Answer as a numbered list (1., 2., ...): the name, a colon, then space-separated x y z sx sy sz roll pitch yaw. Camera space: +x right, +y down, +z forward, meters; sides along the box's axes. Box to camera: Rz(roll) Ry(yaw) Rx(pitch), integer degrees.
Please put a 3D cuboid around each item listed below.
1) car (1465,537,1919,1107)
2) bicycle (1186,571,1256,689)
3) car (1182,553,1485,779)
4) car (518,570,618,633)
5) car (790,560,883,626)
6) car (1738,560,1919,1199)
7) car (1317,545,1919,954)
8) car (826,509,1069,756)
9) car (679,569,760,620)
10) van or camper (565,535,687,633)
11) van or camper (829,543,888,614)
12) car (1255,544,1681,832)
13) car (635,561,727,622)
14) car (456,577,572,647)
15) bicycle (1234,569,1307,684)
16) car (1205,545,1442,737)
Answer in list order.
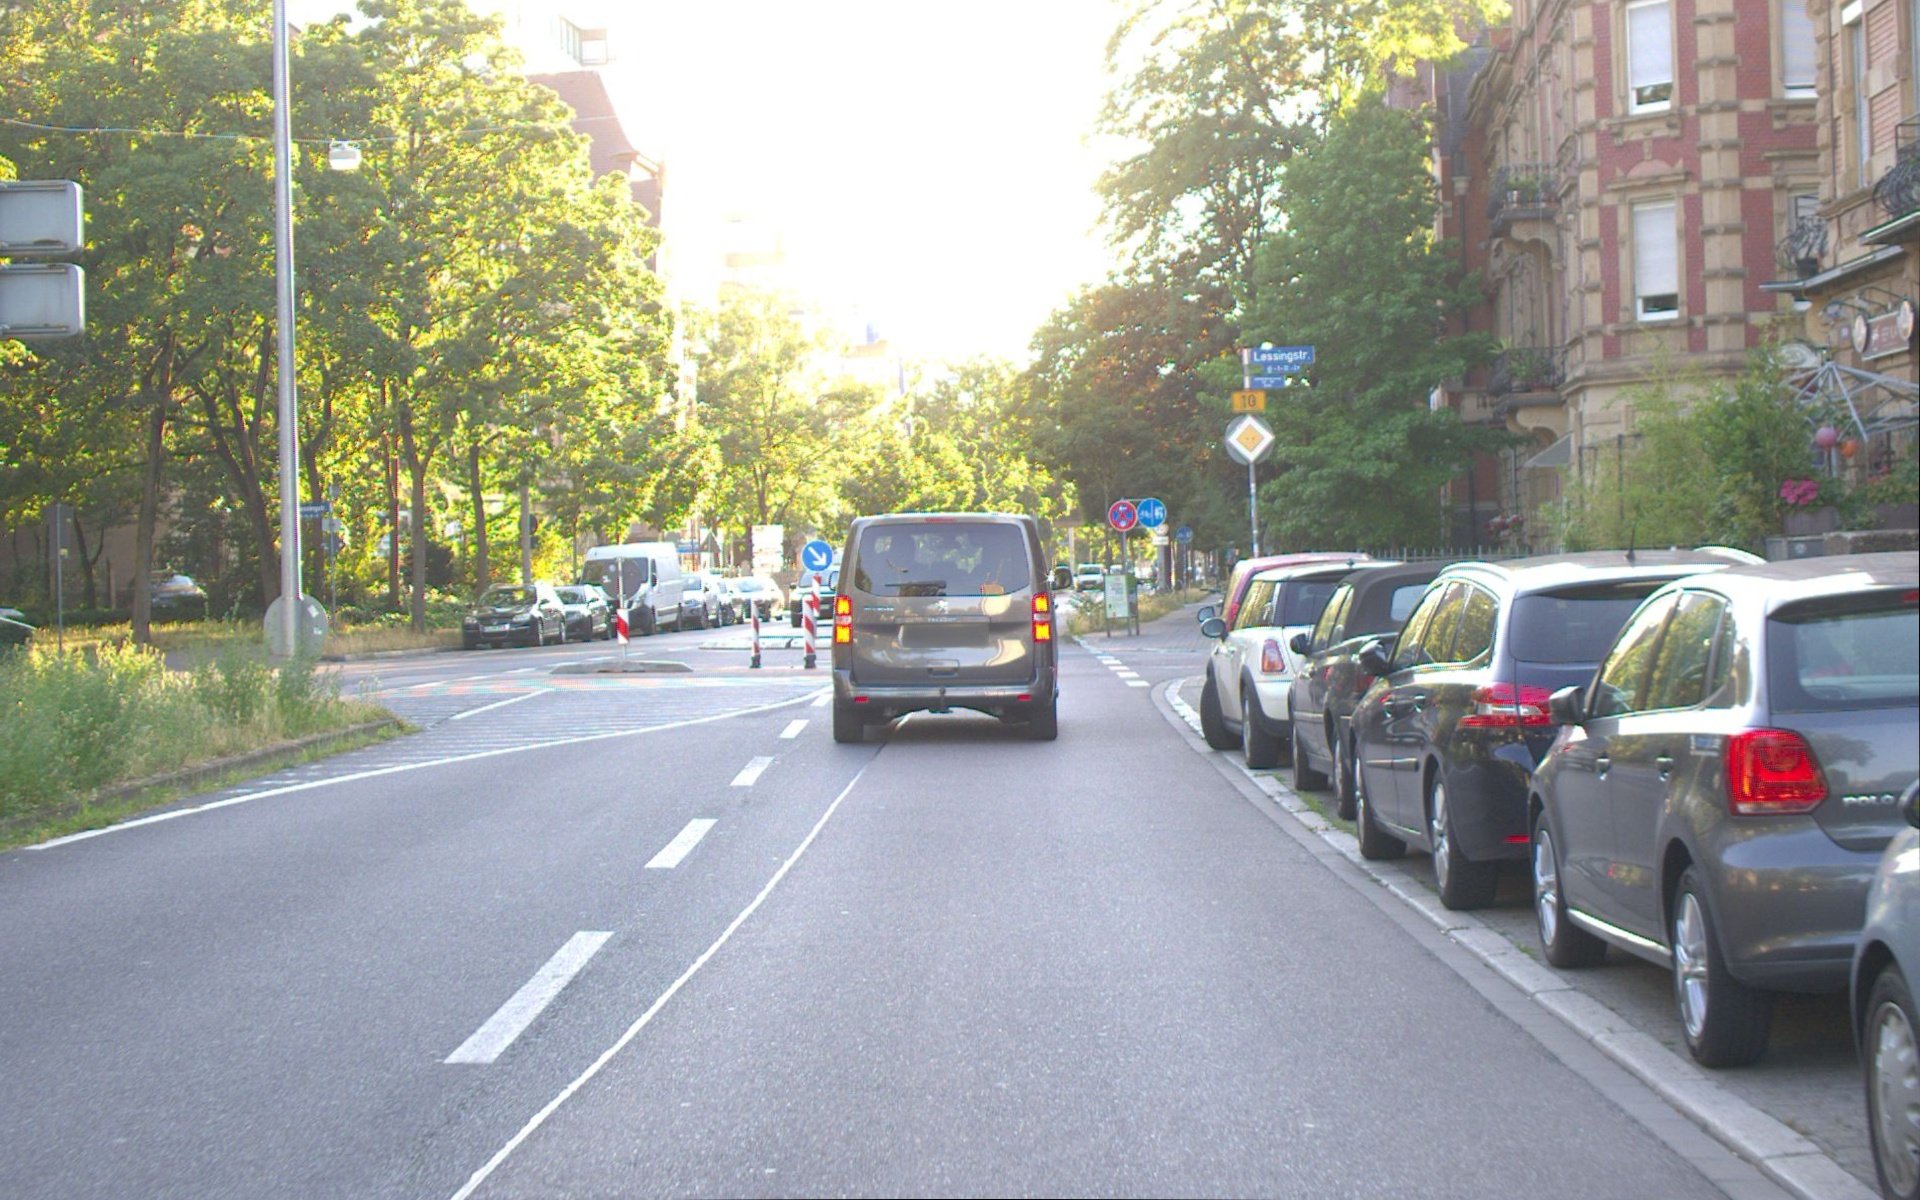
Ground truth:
1. car: 2.850 0.561 11.148 1.747 1.421 3.840 -5 1 0
2. bicycle: 3.056 0.356 40.396 0.565 1.295 2.265 -5 -1 1
3. car: 2.690 0.437 25.493 1.677 1.421 3.677 -5 1 -1
4. car: -9.605 0.026 84.477 1.628 1.424 4.242 -2 1 4
5. car: -3.508 -0.222 98.653 1.877 1.700 4.566 -4 0 7
6. car: 2.794 0.628 6.220 1.700 1.482 3.893 -5 1 -1
7. car: 2.864 0.559 15.630 1.887 1.443 4.464 -5 1 0
8. car: -0.108 0.234 29.458 1.887 1.918 3.839 -2 1 0
9. car: -7.320 -0.180 104.951 1.736 1.440 4.624 -1 1 5
10. van or camper: -8.891 -0.466 92.080 2.091 2.460 6.305 -2 1 4
11. van or camper: -3.898 -0.856 132.829 1.993 2.659 6.038 0 1 1
12. car: 2.959 0.456 20.943 1.887 1.421 4.342 -5 1 1
13. car: -8.046 -0.272 99.463 1.866 1.639 4.570 -2 0 5
14. car: -10.141 0.252 78.500 1.624 1.501 4.543 -2 0 5
15. bicycle: 3.634 0.315 40.393 0.565 1.271 2.265 -5 -1 1
16. car: 3.148 0.317 30.331 1.726 1.460 3.546 -5 1 2
